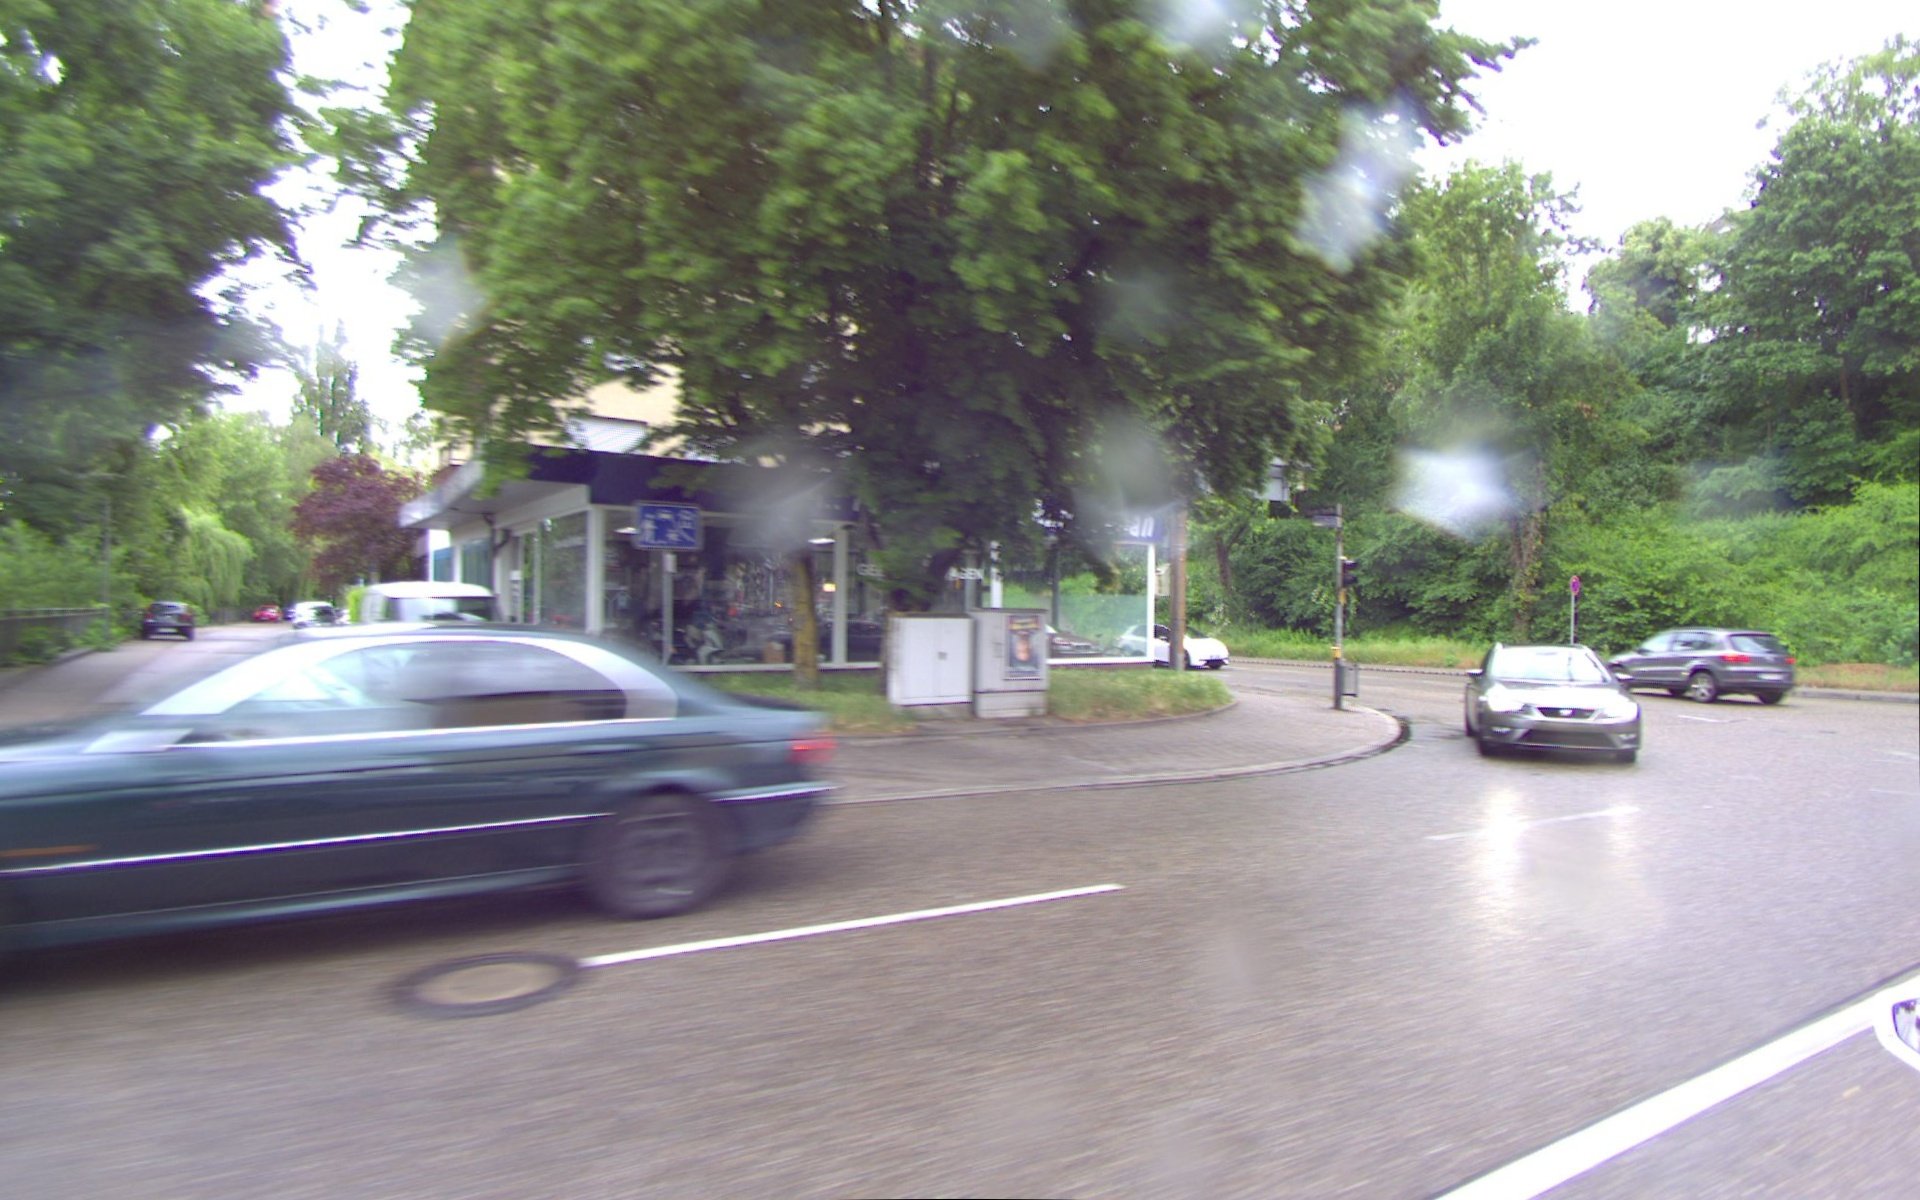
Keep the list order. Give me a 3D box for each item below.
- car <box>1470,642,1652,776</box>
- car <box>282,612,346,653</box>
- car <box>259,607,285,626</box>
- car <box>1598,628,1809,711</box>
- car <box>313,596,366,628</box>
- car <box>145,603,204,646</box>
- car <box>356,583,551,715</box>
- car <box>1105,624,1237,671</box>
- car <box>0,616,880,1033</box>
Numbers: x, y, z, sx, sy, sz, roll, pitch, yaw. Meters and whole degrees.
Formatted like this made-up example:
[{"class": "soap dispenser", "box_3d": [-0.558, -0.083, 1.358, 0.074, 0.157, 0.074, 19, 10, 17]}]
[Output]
[{"class": "car", "box_3d": [8.141, 1.363, 13.957, 1.783, 1.469, 4.203, 0, -1, 26]}, {"class": "car", "box_3d": [-29.437, 1.436, 45.717, 1.983, 1.676, 4.704, -1, 1, -39]}, {"class": "car", "box_3d": [-58.664, 1.402, 85.728, 1.722, 1.602, 3.851, 1, -1, -33]}, {"class": "car", "box_3d": [17.307, 1.559, 23.638, 1.782, 1.624, 3.996, -1, 0, -5]}, {"class": "car", "box_3d": [-35.219, 0.639, 56.979, 1.983, 1.676, 4.704, -1, 1, -39]}, {"class": "car", "box_3d": [-31.054, 0.940, 39.683, 1.726, 1.602, 3.842, 1, -1, -39]}, {"class": "car", "box_3d": [-8.600, 0.675, 16.817, 1.983, 1.879, 4.704, -1, 1, -39]}, {"class": "car", "box_3d": [7.381, 1.627, 35.594, 1.915, 1.459, 4.590, -1, 0, -32]}, {"class": "car", "box_3d": [-2.745, 0.870, 5.092, 4.382, 1.479, 1.718, 3, -2, -34]}]
